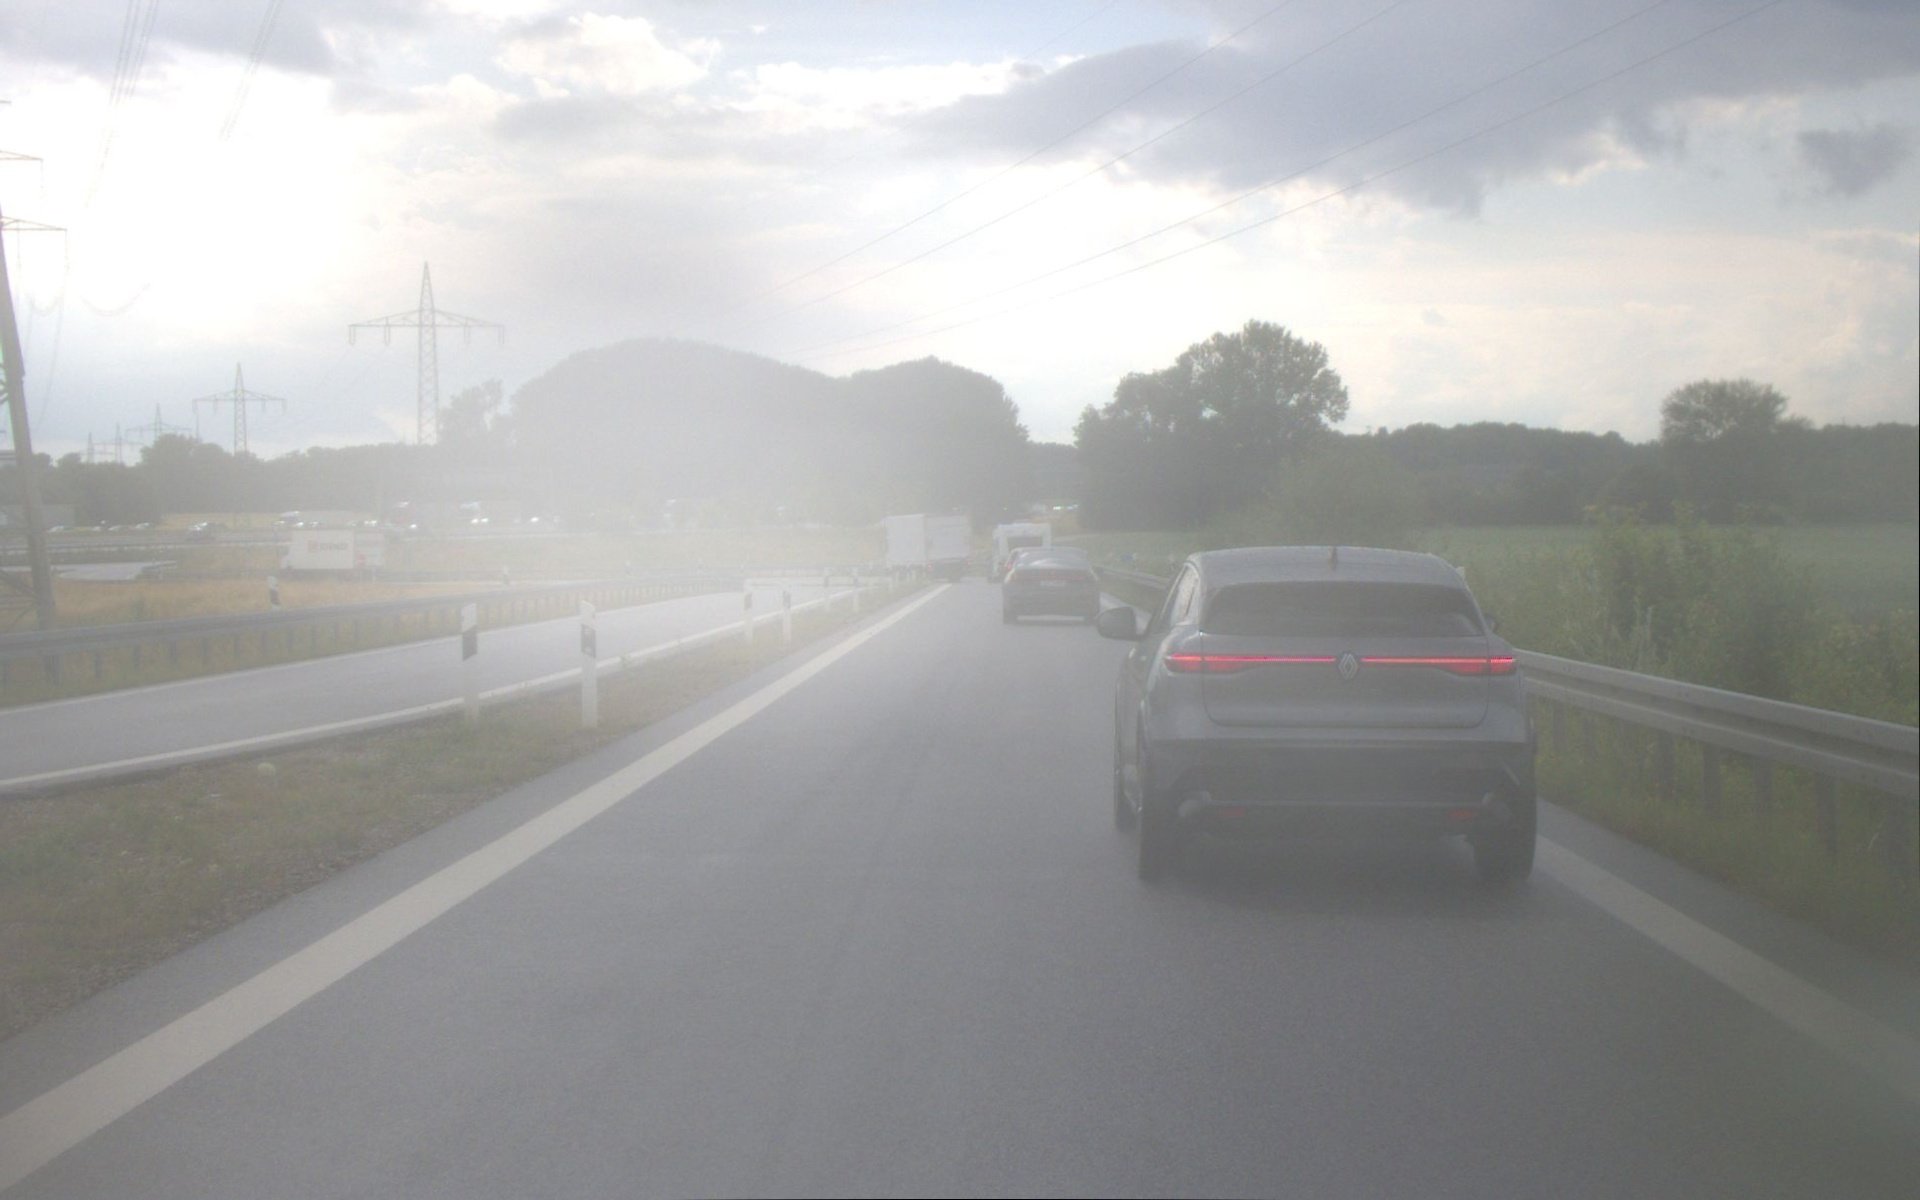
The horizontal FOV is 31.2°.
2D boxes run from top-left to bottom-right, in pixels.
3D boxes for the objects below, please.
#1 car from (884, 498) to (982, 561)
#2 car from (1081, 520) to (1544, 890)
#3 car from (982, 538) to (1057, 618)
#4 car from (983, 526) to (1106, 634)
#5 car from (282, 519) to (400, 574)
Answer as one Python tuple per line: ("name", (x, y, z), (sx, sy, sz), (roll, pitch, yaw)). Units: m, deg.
("car", (-1.449, -3.692, 177.909), (3.135, 2.941, 7.212), (-1, 3, -17))
("car", (1.663, 0.410, 17.156), (1.994, 1.561, 4.149), (1, 2, 3))
("car", (1.893, -0.726, 110.950), (2.351, 2.299, 5.129), (0, 3, 0))
("car", (1.626, -0.439, 68.397), (2.121, 2.011, 5.535), (-1, 1, -2))
("car", (-41.772, -3.604, 231.889), (3.385, 3.598, 9.040), (-2, 2, -44))
